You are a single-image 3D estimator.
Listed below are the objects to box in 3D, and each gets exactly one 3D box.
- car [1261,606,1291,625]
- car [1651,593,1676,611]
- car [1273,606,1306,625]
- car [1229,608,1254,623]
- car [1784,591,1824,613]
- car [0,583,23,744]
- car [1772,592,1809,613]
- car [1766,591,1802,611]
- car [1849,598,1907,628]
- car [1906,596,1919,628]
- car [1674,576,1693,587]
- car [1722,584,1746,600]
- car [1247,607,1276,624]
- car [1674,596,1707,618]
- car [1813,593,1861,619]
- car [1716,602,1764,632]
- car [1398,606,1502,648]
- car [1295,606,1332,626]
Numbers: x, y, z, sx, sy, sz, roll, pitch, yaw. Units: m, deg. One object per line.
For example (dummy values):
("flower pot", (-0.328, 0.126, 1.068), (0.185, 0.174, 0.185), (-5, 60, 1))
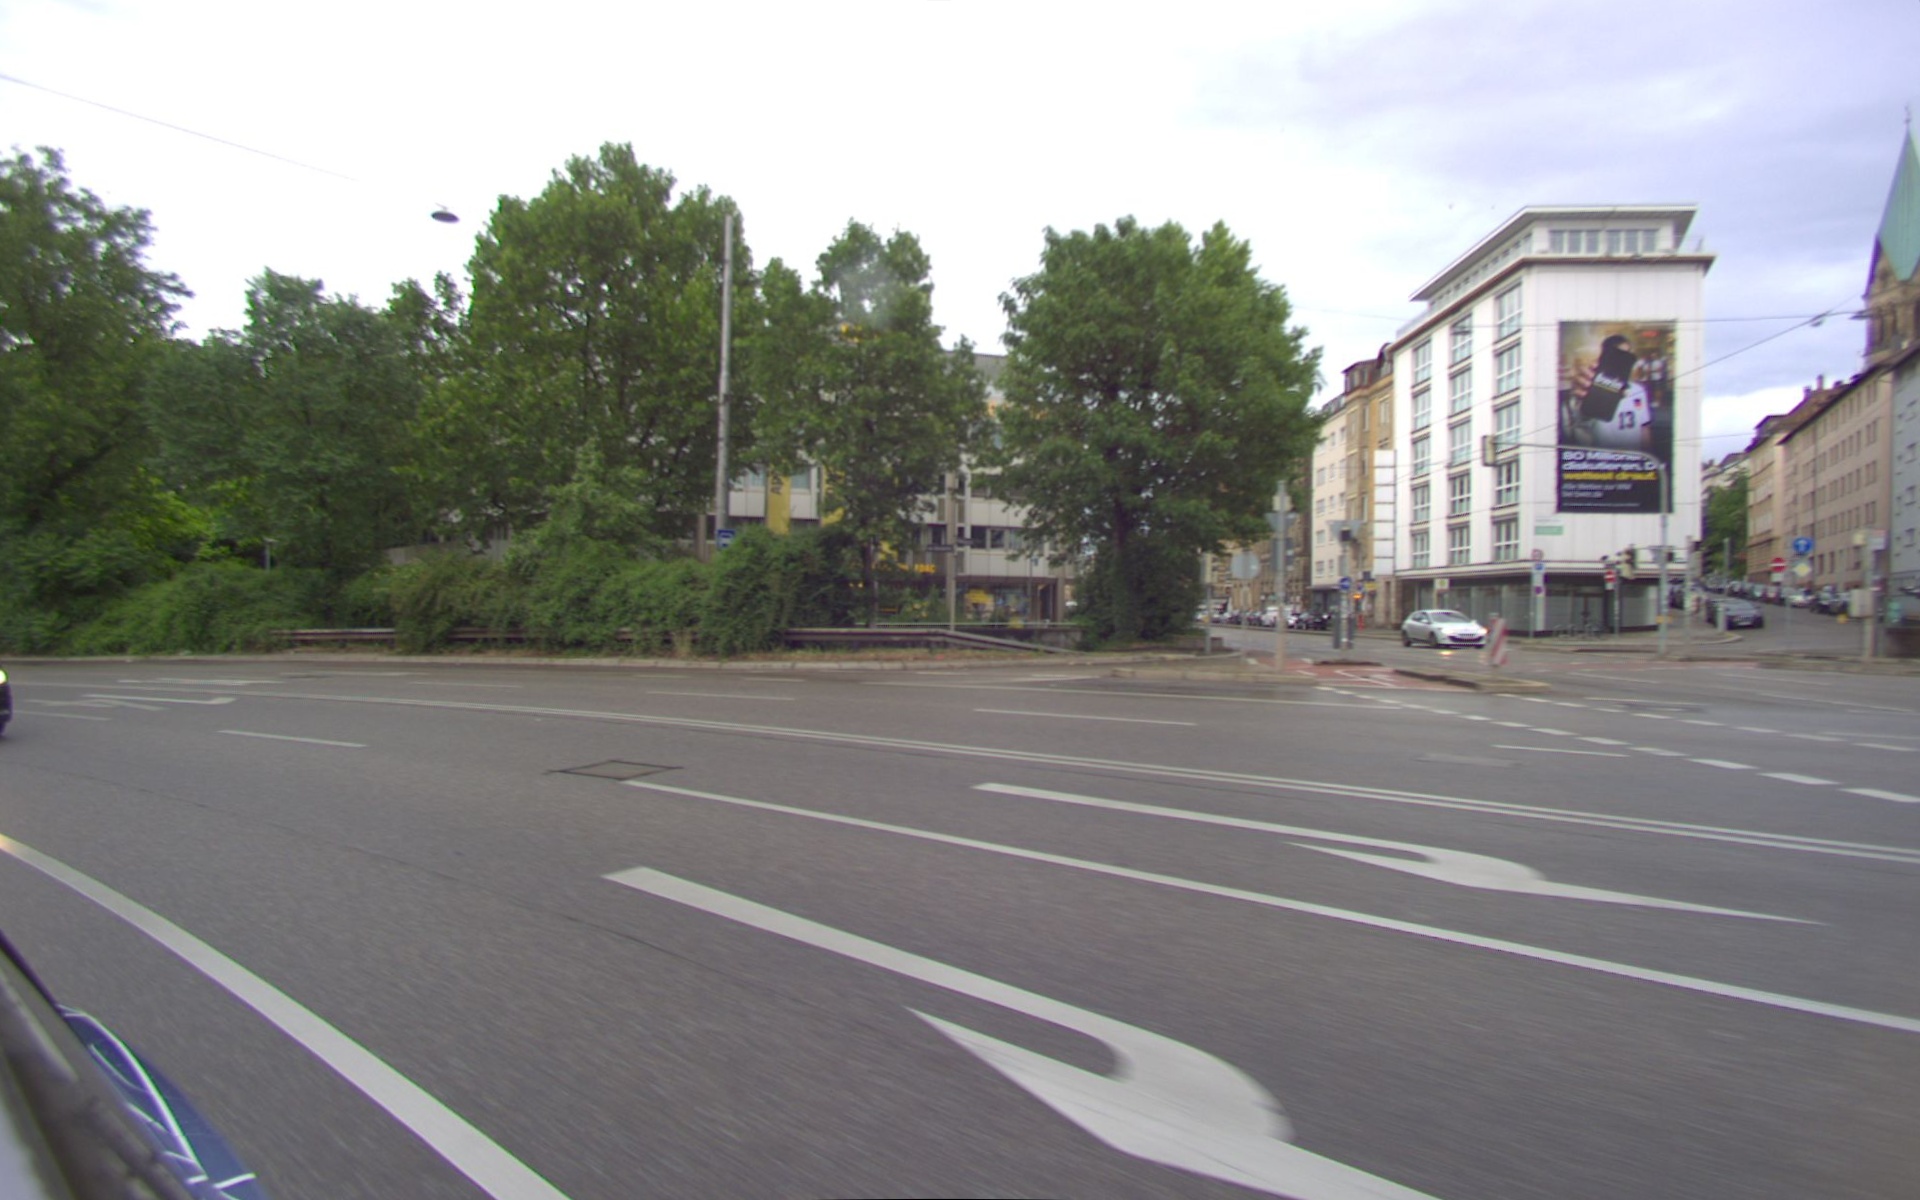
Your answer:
("car", (28.911, 1.418, 92.656), (1.853, 1.589, 3.993), (1, -1, 5))
("car", (65.572, 0.180, 94.313), (1.914, 1.602, 3.952), (0, 1, 35))
("car", (28.615, 1.375, 87.934), (1.853, 1.589, 3.993), (1, -1, 5))
("car", (29.991, 1.656, 107.837), (1.853, 1.589, 3.993), (1, -1, 5))
("car", (61.855, 0.114, 74.212), (1.914, 1.602, 3.952), (0, 1, 35))
("car", (-12.989, 0.758, 11.796), (4.105, 1.813, 1.780), (-1, 0, 28))
("car", (64.321, 0.154, 78.466), (1.914, 1.602, 3.952), (0, 1, 35))
("car", (66.955, 0.074, 82.279), (1.914, 1.602, 3.952), (0, 1, 35))
("car", (51.177, 0.751, 56.493), (1.914, 1.603, 3.952), (0, -1, 35))
("car", (48.704, 0.627, 50.440), (1.757, 1.603, 3.752), (0, -1, 35))
("car", (107.381, -2.800, 150.188), (1.911, 1.602, 3.960), (0, 1, 30))
("car", (83.451, -0.882, 109.186), (1.914, 1.602, 3.952), (0, 1, 35))
("car", (29.164, 1.506, 97.949), (1.853, 1.589, 3.993), (1, -1, 5))
("car", (55.759, 0.504, 77.293), (1.914, 1.602, 3.952), (0, 1, 35))
("car", (56.733, 0.386, 65.502), (1.914, 1.602, 3.952), (0, 1, 35))
("car", (43.045, 0.930, 55.940), (1.914, 1.603, 3.952), (0, -1, 35))
("car", (18.276, 0.985, 37.998), (1.974, 1.462, 4.225), (1, -1, 2))
("car", (28.762, 1.311, 82.411), (1.853, 1.589, 3.993), (1, -1, 5))
